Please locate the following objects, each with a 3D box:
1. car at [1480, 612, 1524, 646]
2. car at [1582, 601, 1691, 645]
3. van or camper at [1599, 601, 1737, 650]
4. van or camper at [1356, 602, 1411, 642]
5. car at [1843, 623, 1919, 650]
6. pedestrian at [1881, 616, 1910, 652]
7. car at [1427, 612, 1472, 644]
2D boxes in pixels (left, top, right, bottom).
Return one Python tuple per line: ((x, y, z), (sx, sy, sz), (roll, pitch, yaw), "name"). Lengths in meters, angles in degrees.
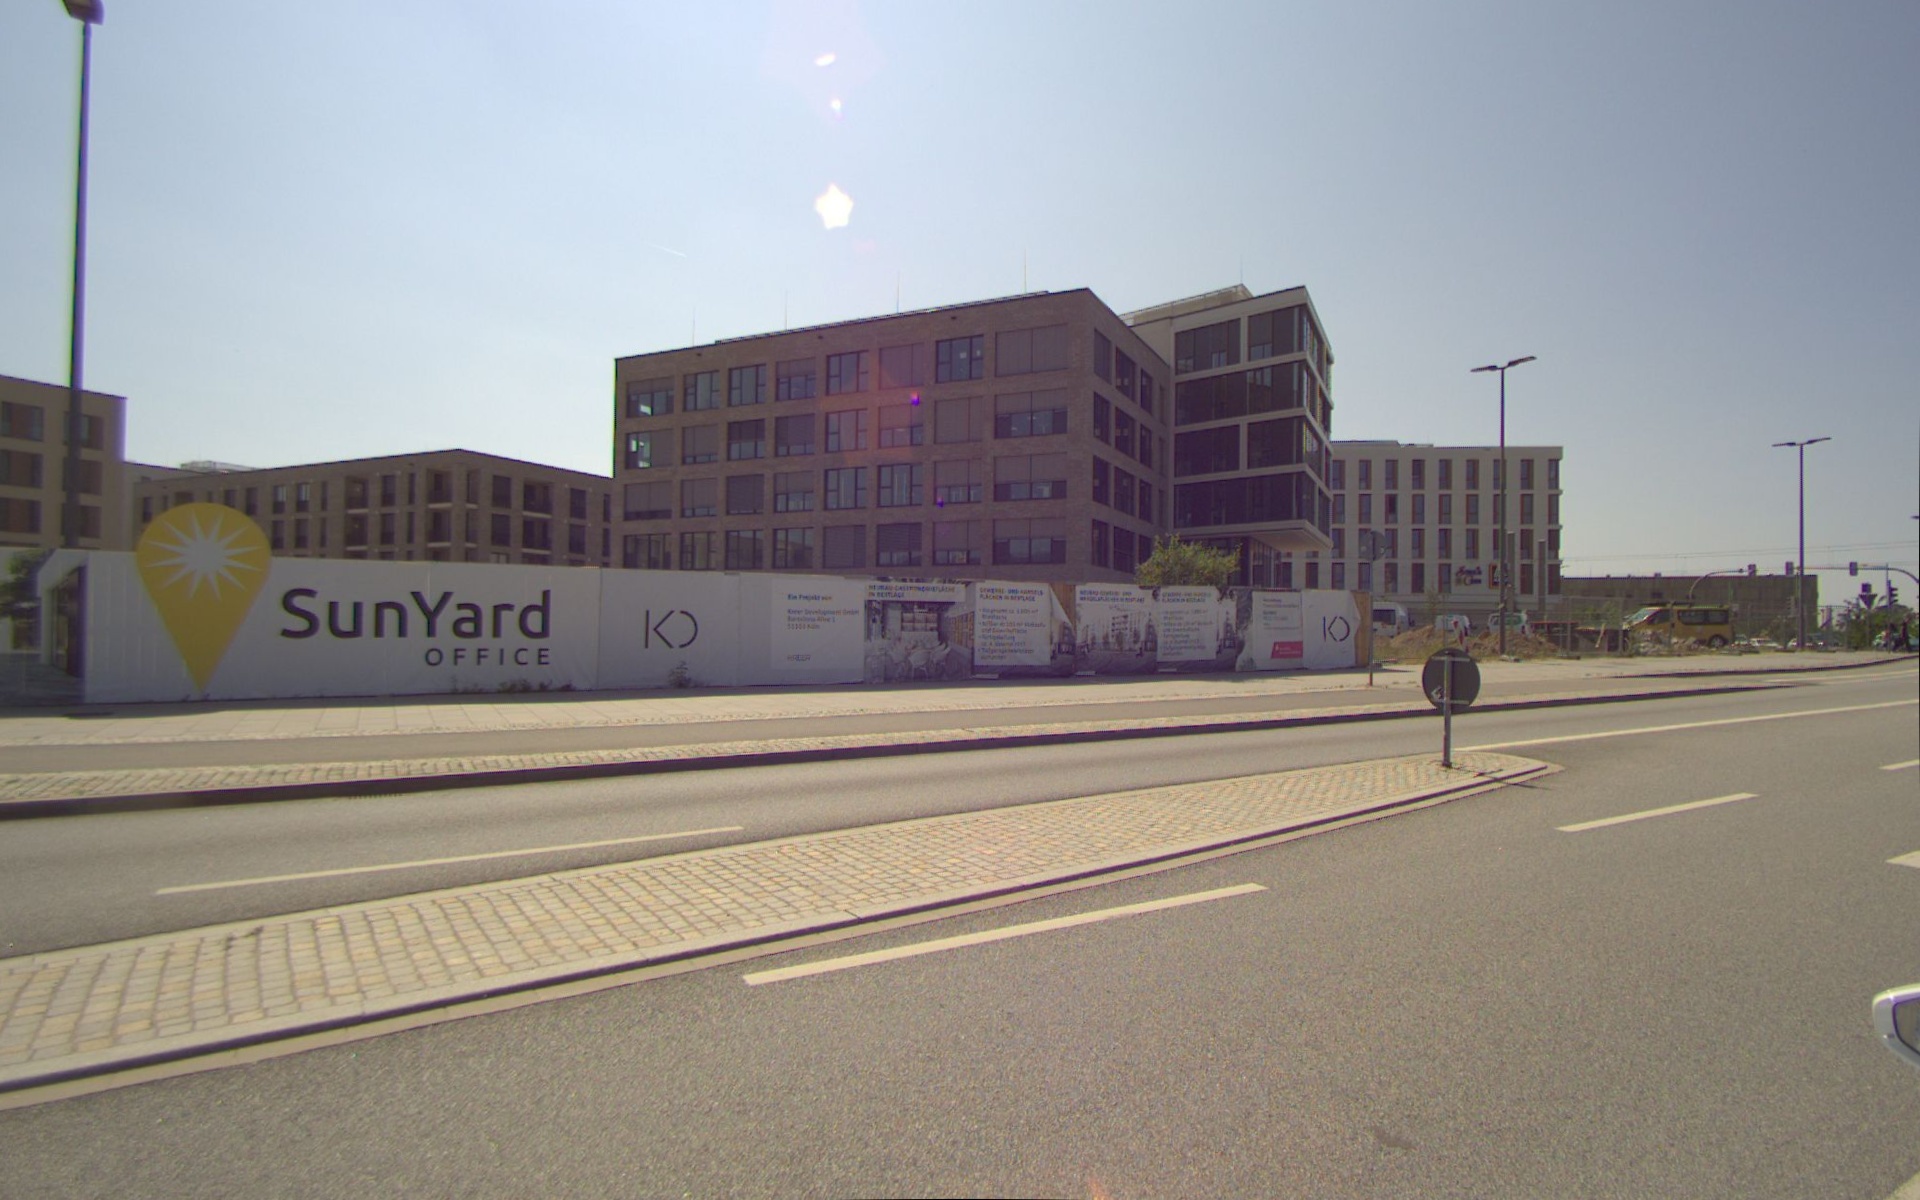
((29.246, 1.555, 54.158), (1.996, 1.694, 4.592), (0, -1, 29), "car")
((32.987, 1.099, 49.063), (3.919, 2.040, 2.001), (1, -1, 9), "car")
((31.981, 1.152, 45.505), (4.622, 1.922, 2.001), (2, -1, 13), "van or camper")
((24.027, 1.248, 56.889), (2.207, 2.040, 4.592), (4, 1, 29), "van or camper")
((68.756, 2.712, 74.883), (1.968, 1.795, 3.986), (3, -1, -17), "car")
((44.134, 1.586, 47.382), (0.819, 1.668, 0.839), (1, -1, -35), "pedestrian")
((27.221, 1.554, 55.801), (1.996, 1.694, 4.592), (0, -1, 29), "car")
